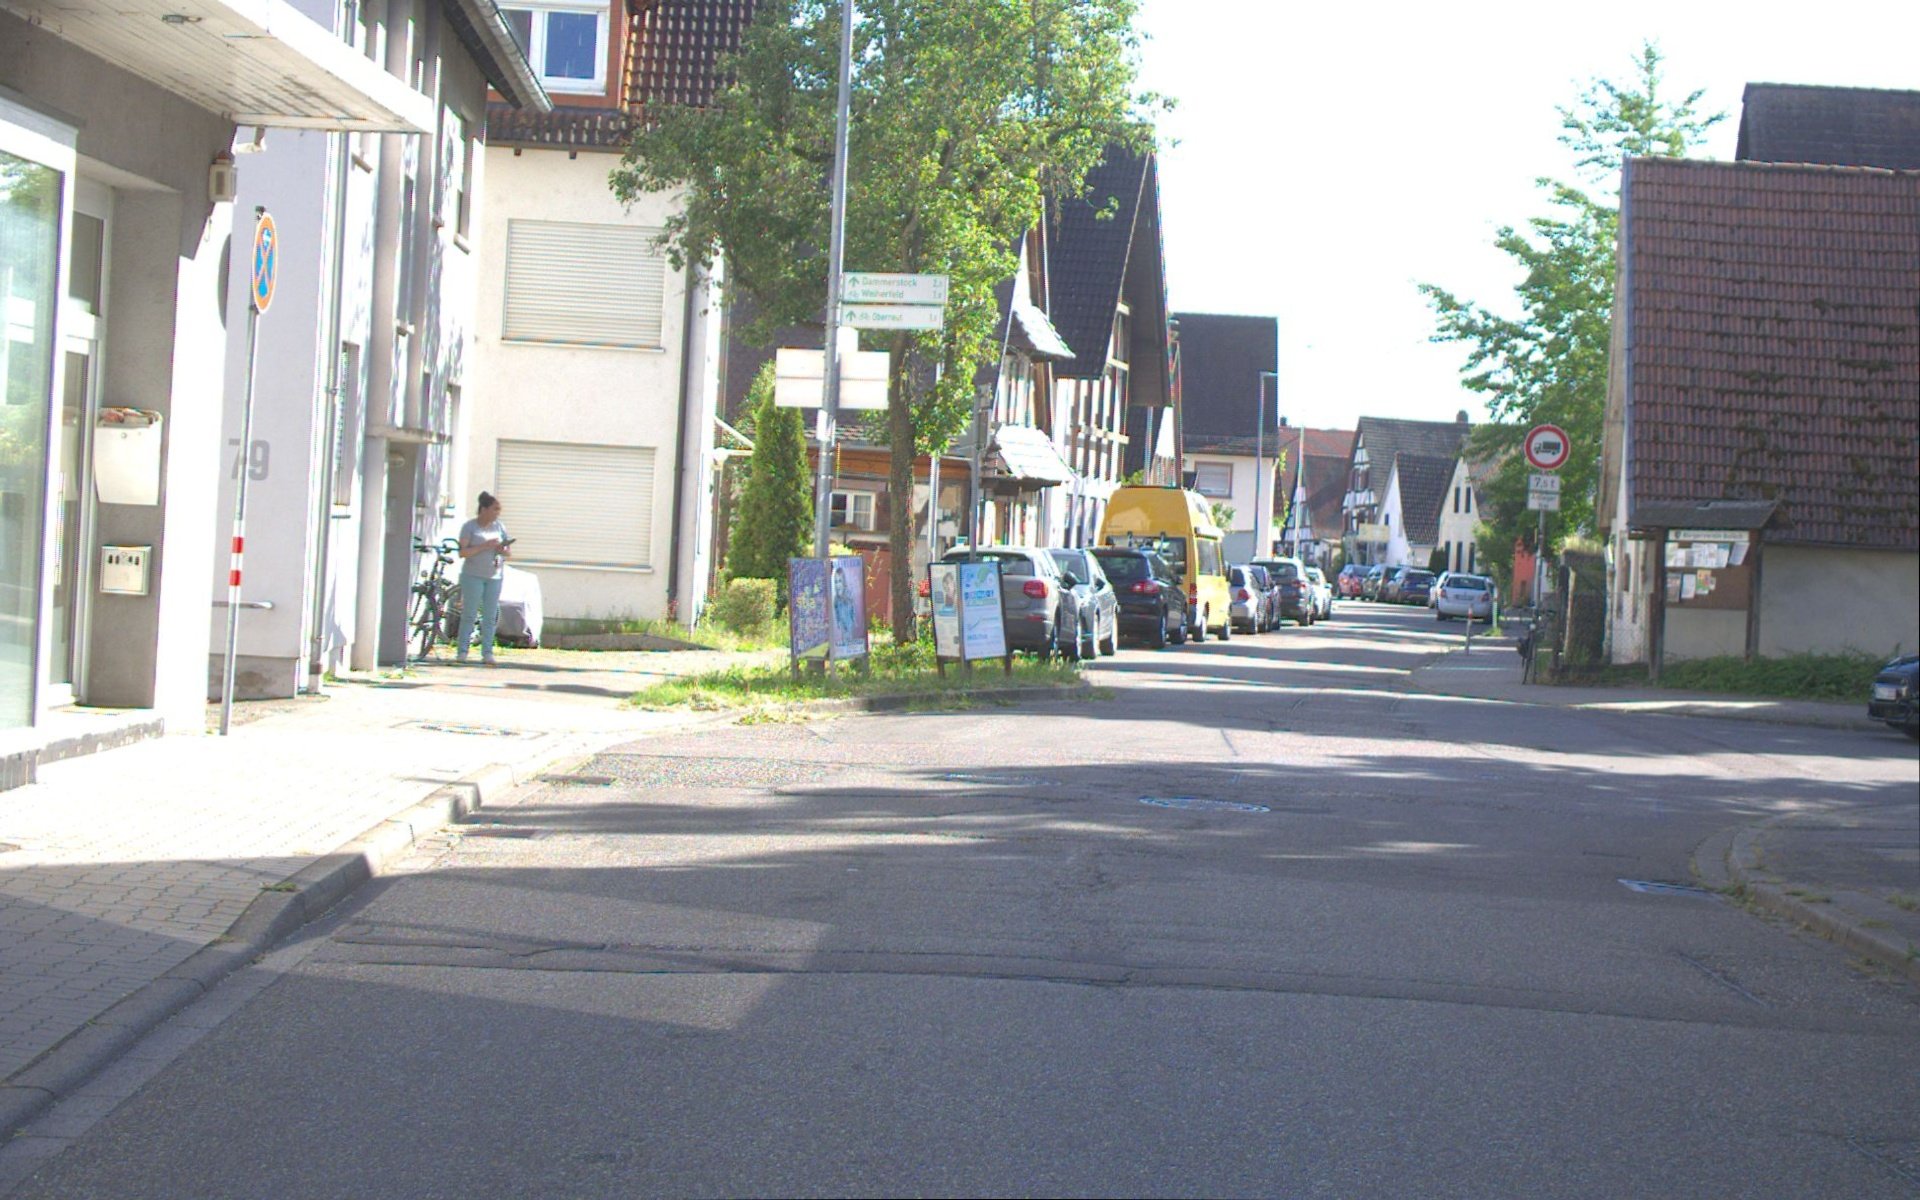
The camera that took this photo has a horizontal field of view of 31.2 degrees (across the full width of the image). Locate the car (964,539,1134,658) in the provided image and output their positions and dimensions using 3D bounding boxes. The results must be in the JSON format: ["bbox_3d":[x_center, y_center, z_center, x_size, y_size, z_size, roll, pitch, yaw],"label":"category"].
[{"bbox_3d":[1.309,-0.020,48.758,1.807,1.500,4.106,3,0,9],"label":"car"}]

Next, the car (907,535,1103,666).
[{"bbox_3d":[0.635,0.007,44.419,1.868,1.500,4.106,3,0,9],"label":"car"}]

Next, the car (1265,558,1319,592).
[{"bbox_3d":[17.095,-1.307,177.297,1.973,1.577,3.996,4,1,-5],"label":"car"}]

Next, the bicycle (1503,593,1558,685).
[{"bbox_3d":[7.535,0.505,45.382,0.433,1.172,1.827,3,1,17],"label":"bicycle"}]

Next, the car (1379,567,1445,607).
[{"bbox_3d":[19.852,-0.596,151.130,1.973,1.577,3.996,4,1,-5],"label":"car"}]

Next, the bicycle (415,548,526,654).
[{"bbox_3d":[-5.100,0.018,35.946,0.578,1.049,2.035,3,0,7],"label":"bicycle"}]

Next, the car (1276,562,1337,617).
[{"bbox_3d":[9.776,-0.303,96.767,1.588,1.438,3.614,4,1,6],"label":"car"}]

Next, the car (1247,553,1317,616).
[{"bbox_3d":[7.980,-0.387,84.983,1.588,1.438,3.614,4,1,6],"label":"car"}]

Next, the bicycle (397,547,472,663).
[{"bbox_3d":[-4.966,0.050,32.529,0.423,1.049,1.381,3,0,1],"label":"bicycle"}]

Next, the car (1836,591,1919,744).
[{"bbox_3d":[11.187,0.795,34.988,3.986,1.472,1.666,4,1,-4],"label":"car"}]

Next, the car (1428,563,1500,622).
[{"bbox_3d":[15.888,-0.244,108.567,1.974,1.708,3.994,4,1,6],"label":"car"}]

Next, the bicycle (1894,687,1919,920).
[{"bbox_3d":[4.770,0.978,15.494,0.435,1.076,1.890,2,1,-4],"label":"bicycle"}]

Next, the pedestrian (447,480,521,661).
[{"bbox_3d":[-4.521,-0.274,32.681,0.483,1.687,0.556,4,-1,4],"label":"pedestrian"}]

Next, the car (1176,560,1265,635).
[{"bbox_3d":[5.469,-0.067,71.927,1.646,1.428,3.614,4,1,6],"label":"car"}]

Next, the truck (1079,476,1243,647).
[{"bbox_3d":[3.738,-0.667,62.941,2.269,2.858,5.780,3,0,9],"label":"truck"}]

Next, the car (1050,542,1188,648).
[{"bbox_3d":[2.700,-0.082,57.580,1.807,1.616,3.879,3,0,9],"label":"car"}]
